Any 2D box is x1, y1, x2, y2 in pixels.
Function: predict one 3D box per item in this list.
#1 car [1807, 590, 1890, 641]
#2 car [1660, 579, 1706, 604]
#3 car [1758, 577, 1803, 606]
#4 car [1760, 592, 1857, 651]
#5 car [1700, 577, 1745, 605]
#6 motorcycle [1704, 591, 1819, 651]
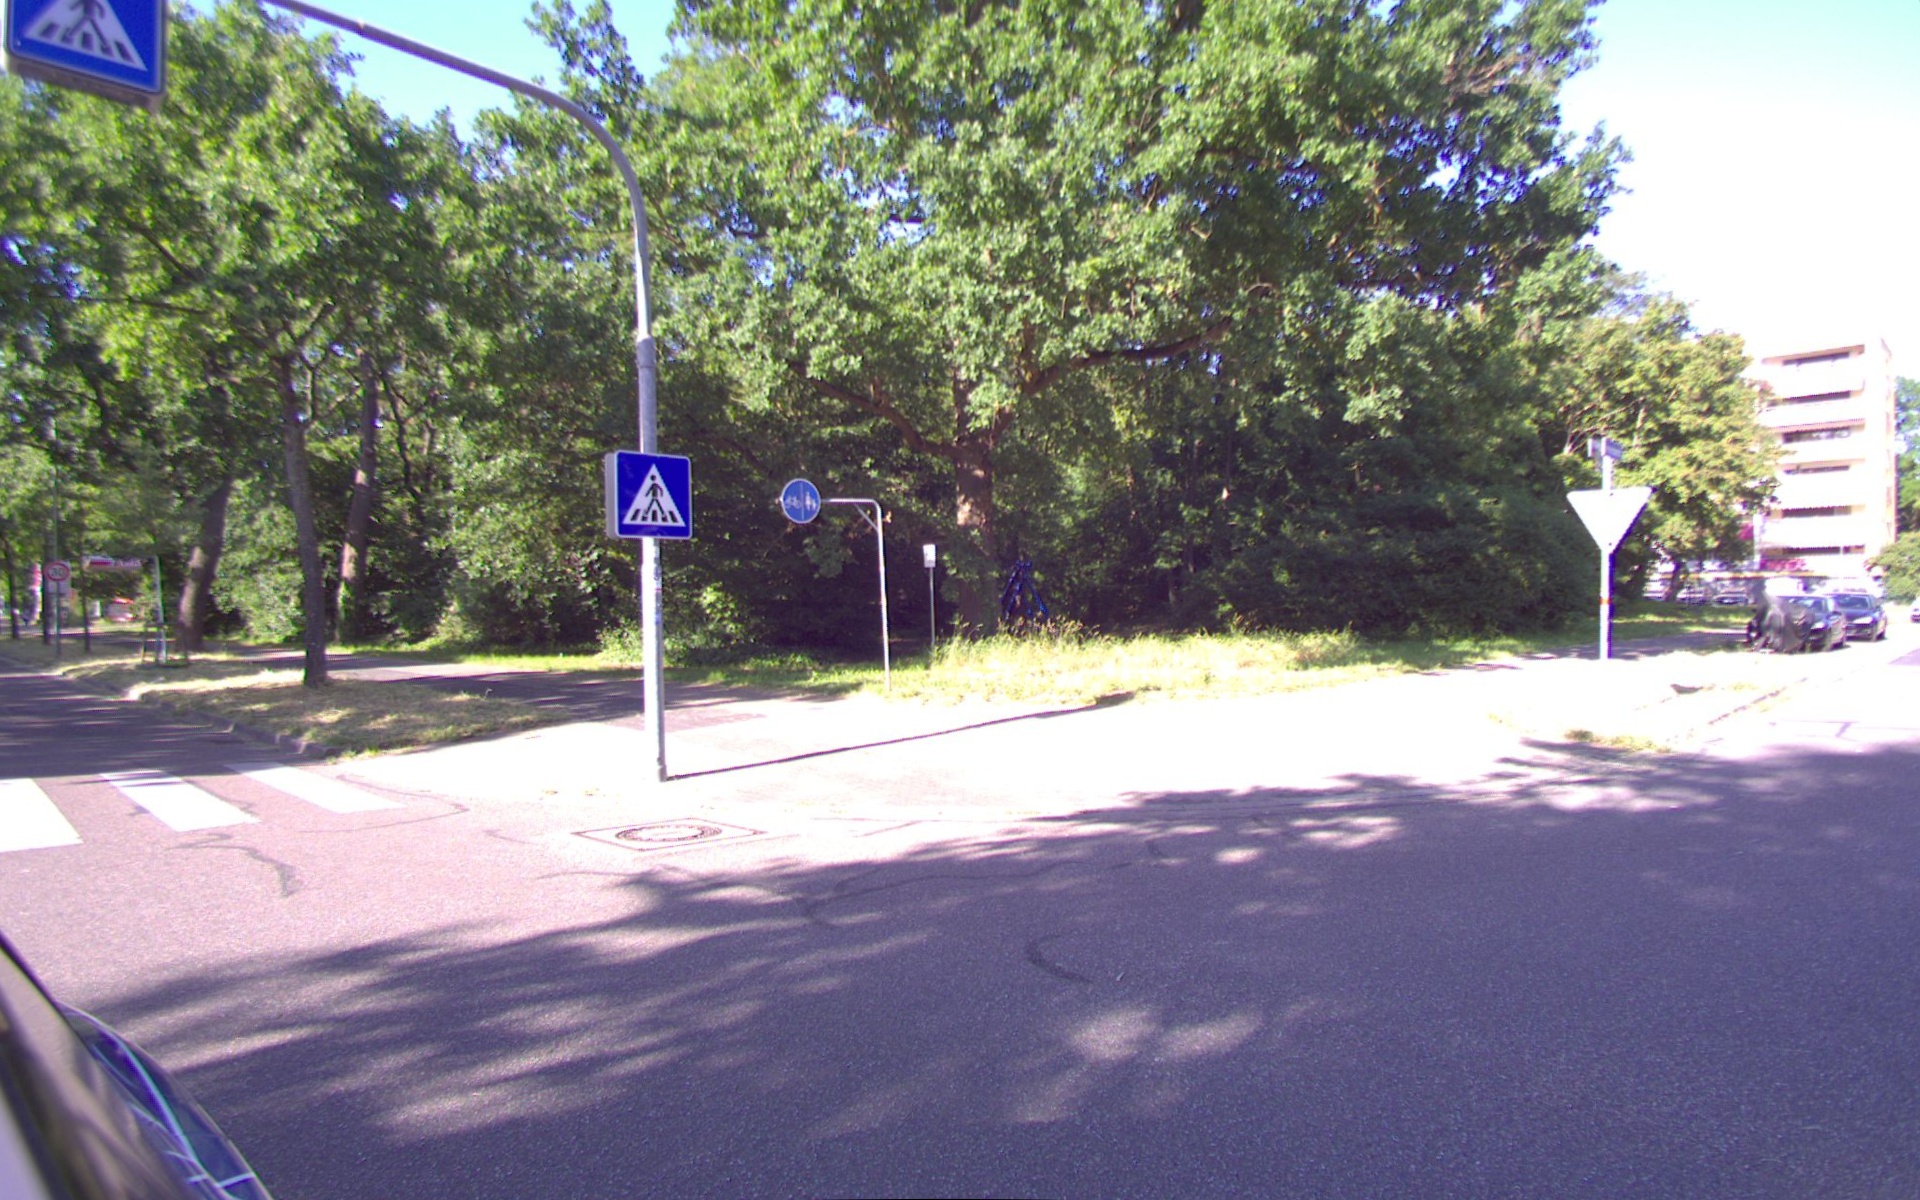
[{"bbox_3d":[26.698,0.447,30.363,3.535,1.402,1.561,-1,0,-44],"label":"car"},{"bbox_3d":[48.201,-0.573,67.419,3.779,1.538,1.802,-1,0,-44],"label":"car"},{"bbox_3d":[51.669,-0.566,63.708,3.779,1.757,1.764,-1,0,-44],"label":"car"},{"bbox_3d":[22.144,0.522,26.371,3.535,1.402,1.561,-1,0,-44],"label":"car"},{"bbox_3d":[49.861,-0.586,66.187,3.779,1.757,1.764,-1,0,-44],"label":"car"},{"bbox_3d":[18.665,0.490,23.607,1.944,1.354,0.672,-1,0,16],"label":"motorcycle"}]
